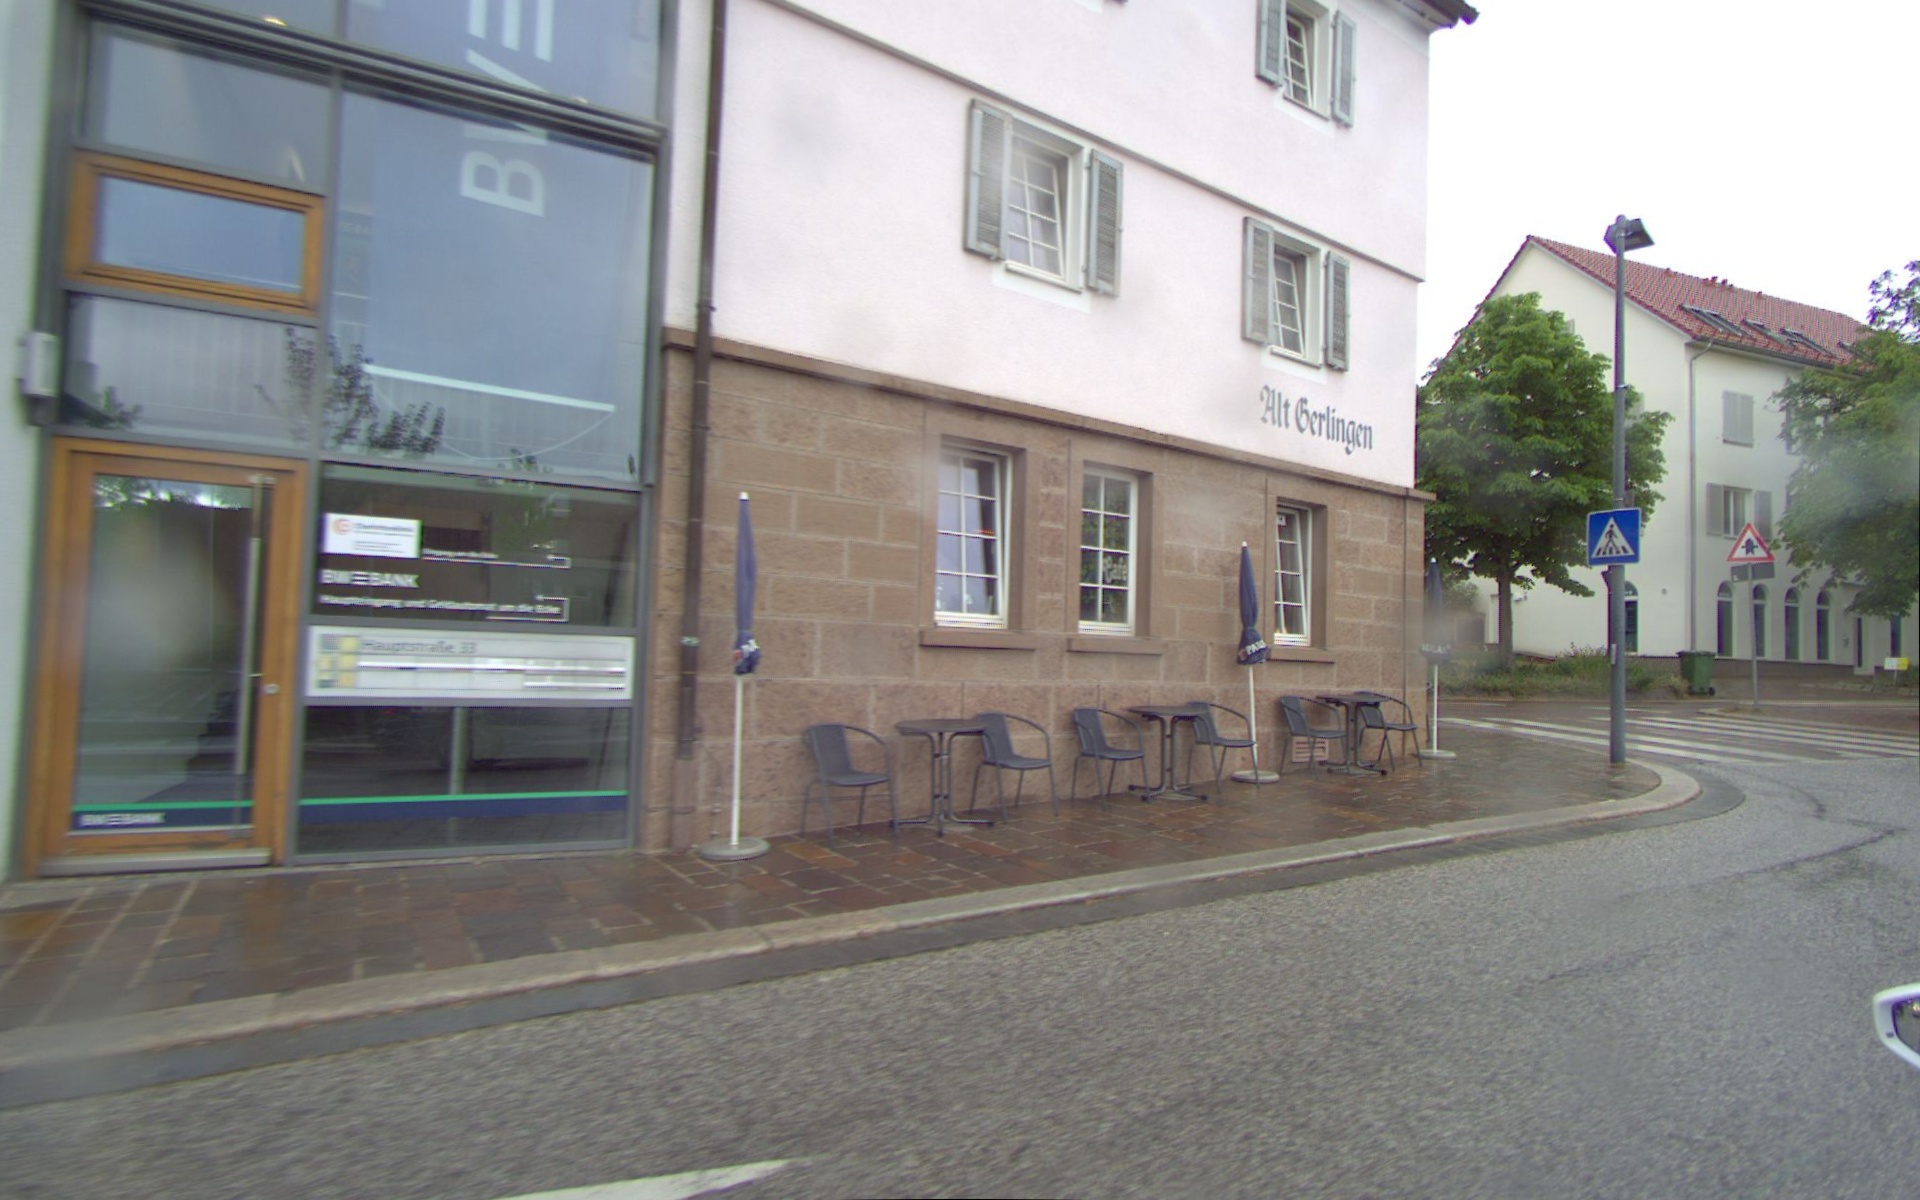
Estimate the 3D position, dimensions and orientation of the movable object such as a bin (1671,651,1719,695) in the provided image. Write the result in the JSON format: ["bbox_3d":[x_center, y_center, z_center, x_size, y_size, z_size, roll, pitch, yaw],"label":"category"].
[{"bbox_3d":[18.048,1.795,24.666,0.685,1.072,0.636,1,-4,-6],"label":"movable object such as a bin"}]
